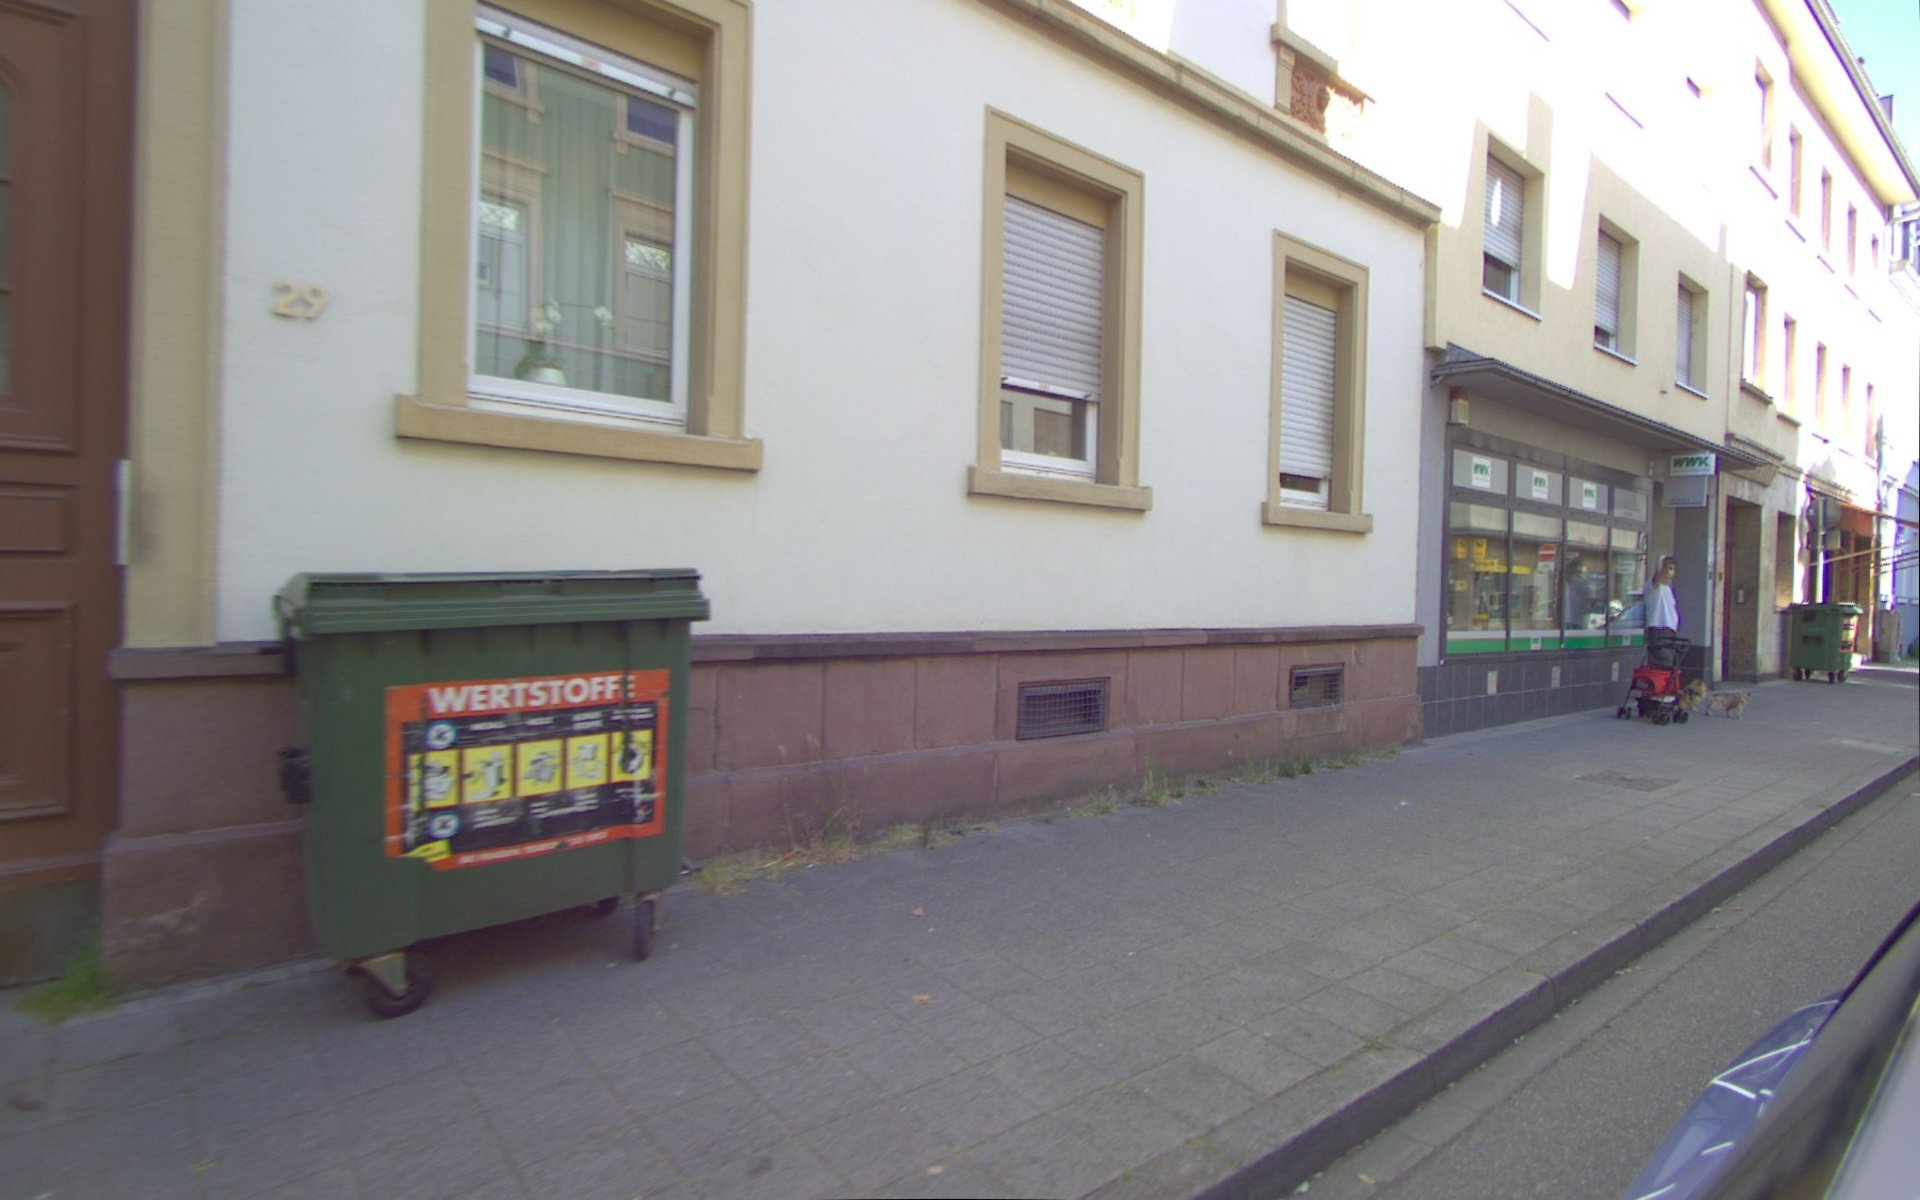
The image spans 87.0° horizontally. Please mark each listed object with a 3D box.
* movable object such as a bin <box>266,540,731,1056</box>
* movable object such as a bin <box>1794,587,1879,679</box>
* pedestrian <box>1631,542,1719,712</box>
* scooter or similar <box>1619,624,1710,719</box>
[{"bbox_3d":[-1.571,0.512,3.503,1.274,1.406,0.839,-2,5,-40],"label":"movable object such as a bin"},{"bbox_3d":[14.900,0.544,17.203,1.347,1.454,0.749,0,4,-38],"label":"movable object such as a bin"},{"bbox_3d":[8.324,0.295,11.818,0.645,1.882,0.741,4,2,29],"label":"pedestrian"},{"bbox_3d":[7.706,0.767,11.066,0.851,0.956,0.492,2,1,-33],"label":"scooter or similar"}]
